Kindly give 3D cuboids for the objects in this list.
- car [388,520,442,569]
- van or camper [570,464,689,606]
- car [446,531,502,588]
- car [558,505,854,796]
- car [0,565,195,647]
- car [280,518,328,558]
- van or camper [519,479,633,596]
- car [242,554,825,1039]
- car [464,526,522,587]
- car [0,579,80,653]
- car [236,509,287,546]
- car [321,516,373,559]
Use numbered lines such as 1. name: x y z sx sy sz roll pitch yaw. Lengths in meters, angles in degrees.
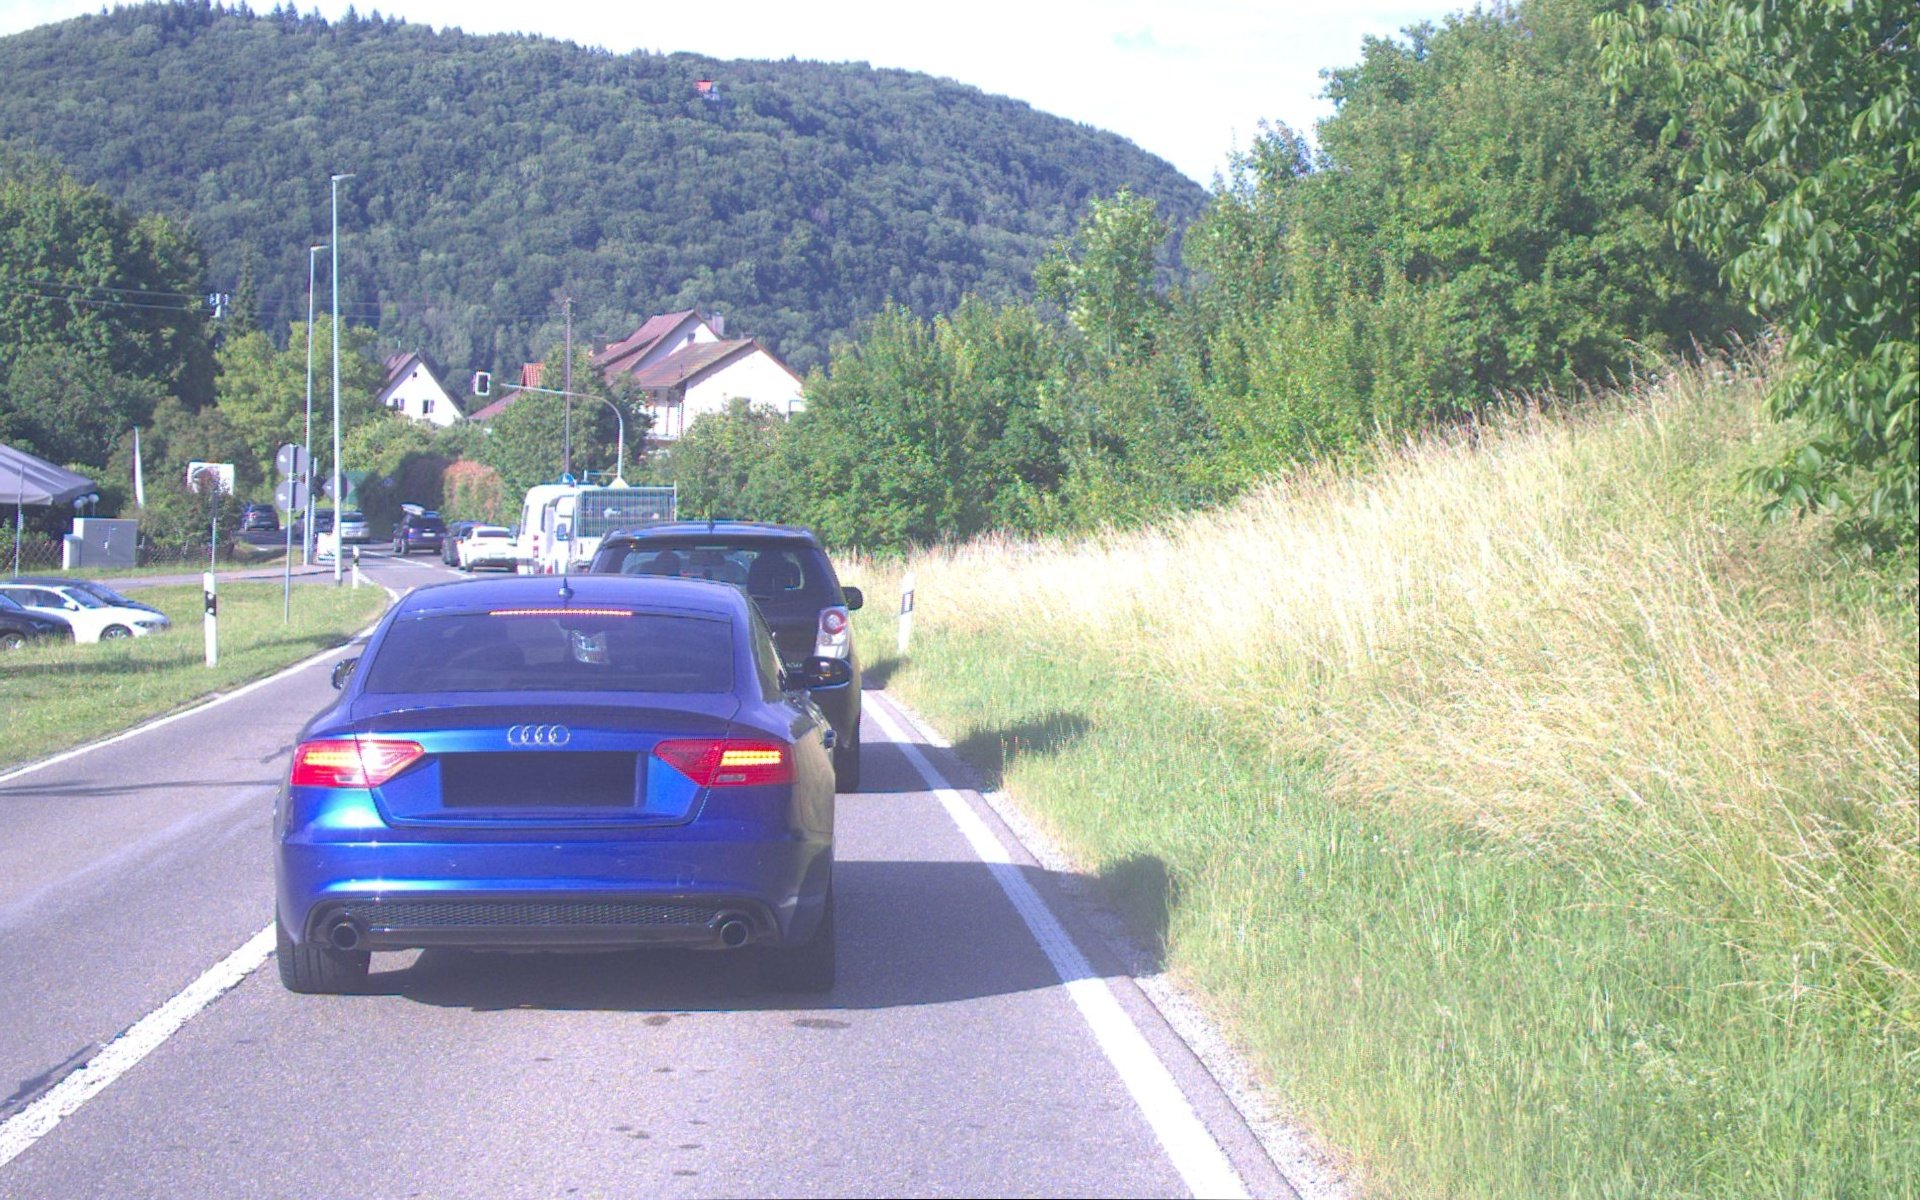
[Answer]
1. car: -22.097 -2.243 139.347 1.676 1.918 4.001 -1 1 -16
2. van or camper: -6.187 -1.195 63.861 2.051 2.497 5.813 -1 1 -7
3. car: -16.662 -1.381 117.701 1.659 1.918 4.001 -1 1 -11
4. car: -1.522 0.263 21.387 1.645 1.619 3.517 2 1 -2
5. car: -18.539 0.127 73.181 4.037 1.655 1.655 -1 1 8
6. car: -31.887 -3.013 167.080 1.676 1.918 4.001 -1 1 -19
7. van or camper: -9.331 -1.490 83.133 2.280 2.704 5.769 -1 1 -11
8. car: -1.354 0.569 12.144 1.742 1.445 3.517 0 1 -2
9. car: -14.991 -1.387 110.154 1.659 1.918 4.001 -1 1 -10
10. car: -19.678 0.333 68.747 3.713 1.434 1.509 -1 1 8
11. car: -36.937 -3.828 181.707 1.954 1.918 4.001 -1 1 -21
12. car: -28.102 -2.850 157.525 1.676 1.918 4.001 -1 1 -19
